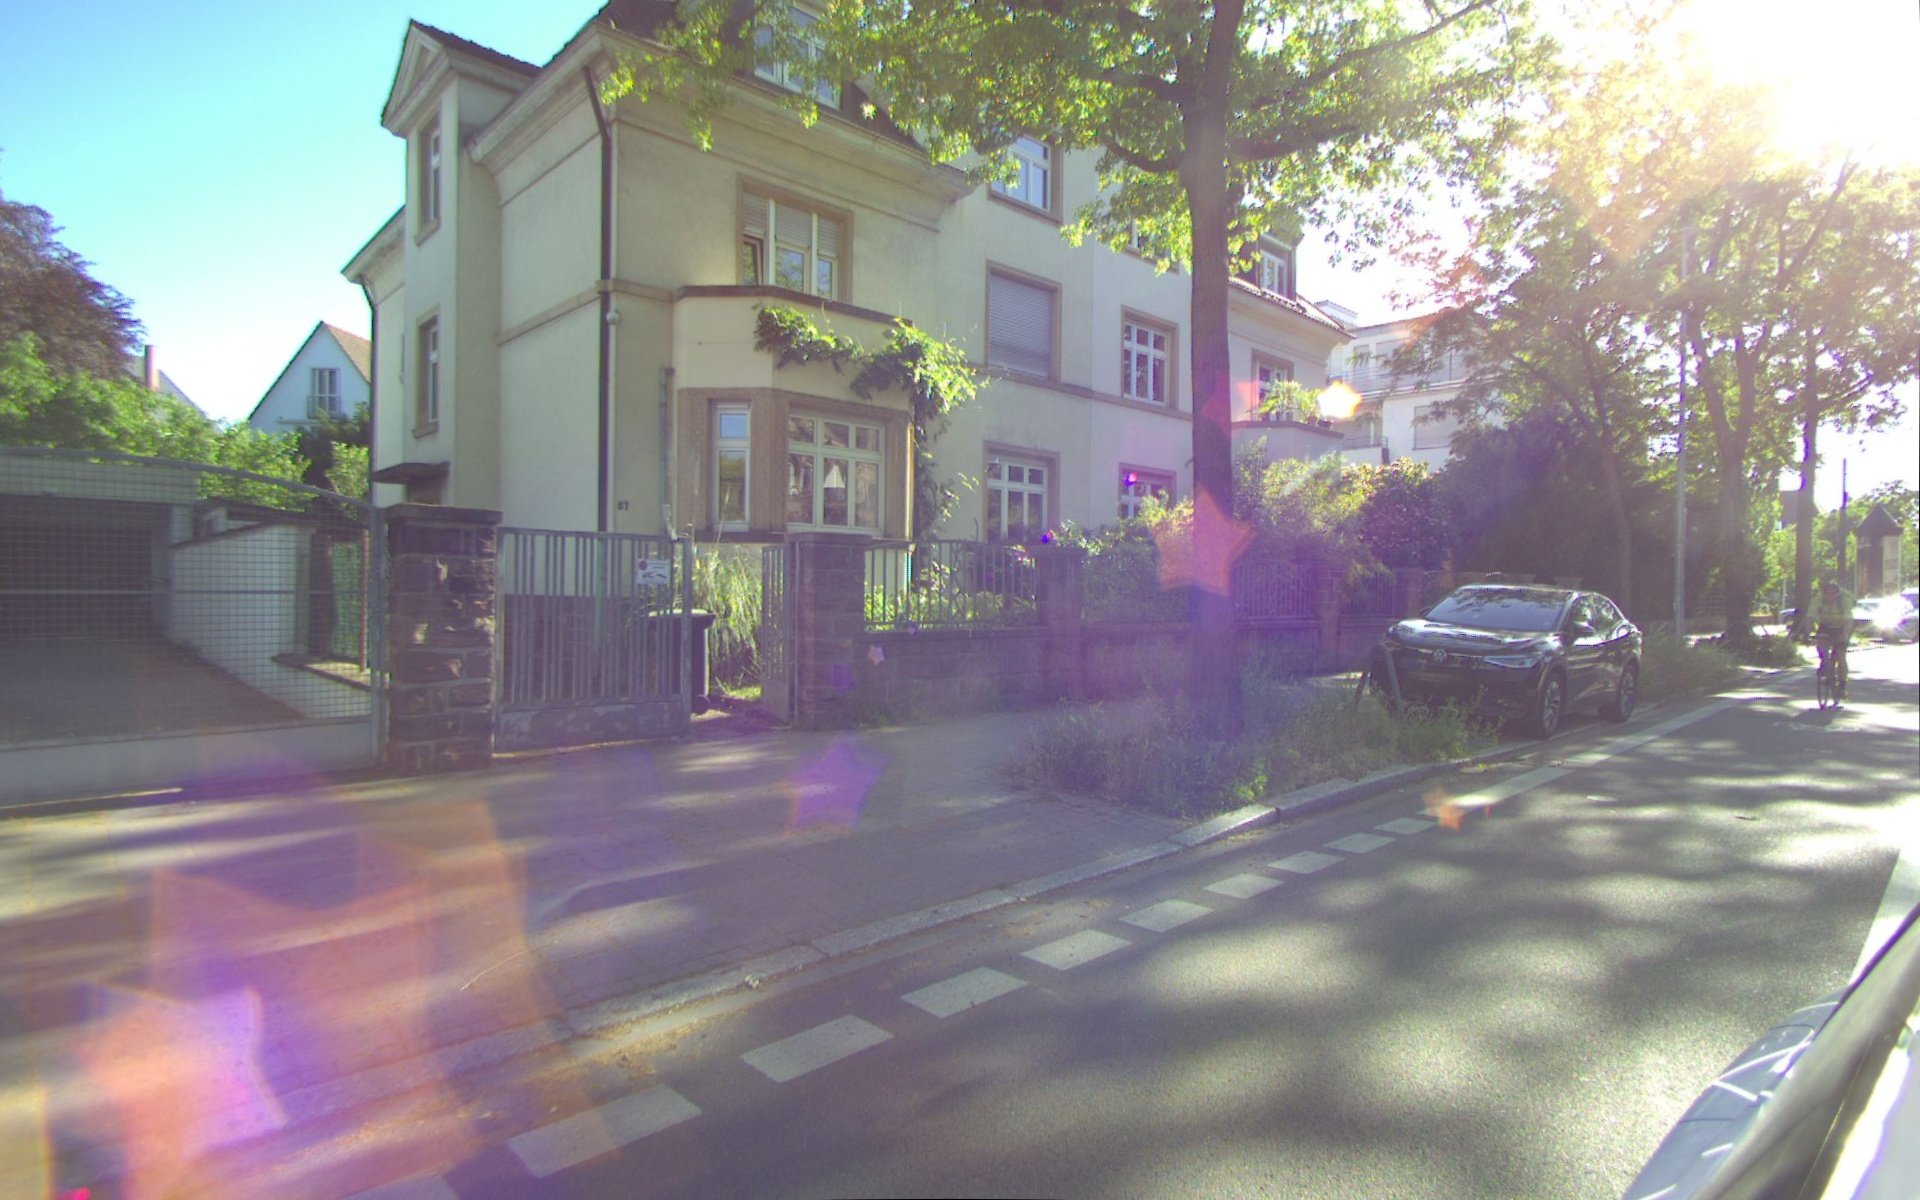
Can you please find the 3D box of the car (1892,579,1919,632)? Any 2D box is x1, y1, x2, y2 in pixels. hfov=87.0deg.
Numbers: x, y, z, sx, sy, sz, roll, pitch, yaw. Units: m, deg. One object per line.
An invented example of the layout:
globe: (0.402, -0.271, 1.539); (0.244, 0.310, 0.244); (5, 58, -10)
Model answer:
car: (36.874, 0.206, 38.095); (4.663, 1.919, 2.128); (0, 1, -41)

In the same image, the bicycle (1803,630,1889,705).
bicycle: (12.618, 0.933, 14.395); (1.852, 0.937, 0.677); (0, 1, -41)

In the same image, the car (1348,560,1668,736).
car: (6.705, 0.478, 12.198); (4.304, 1.695, 1.997); (1, 2, -42)

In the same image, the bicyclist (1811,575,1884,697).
bicyclist: (12.589, 0.485, 14.362); (0.732, 1.679, 0.677); (0, 0, -41)

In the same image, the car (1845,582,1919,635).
car: (31.517, 0.254, 34.098); (3.927, 1.660, 1.824); (0, 1, -38)
